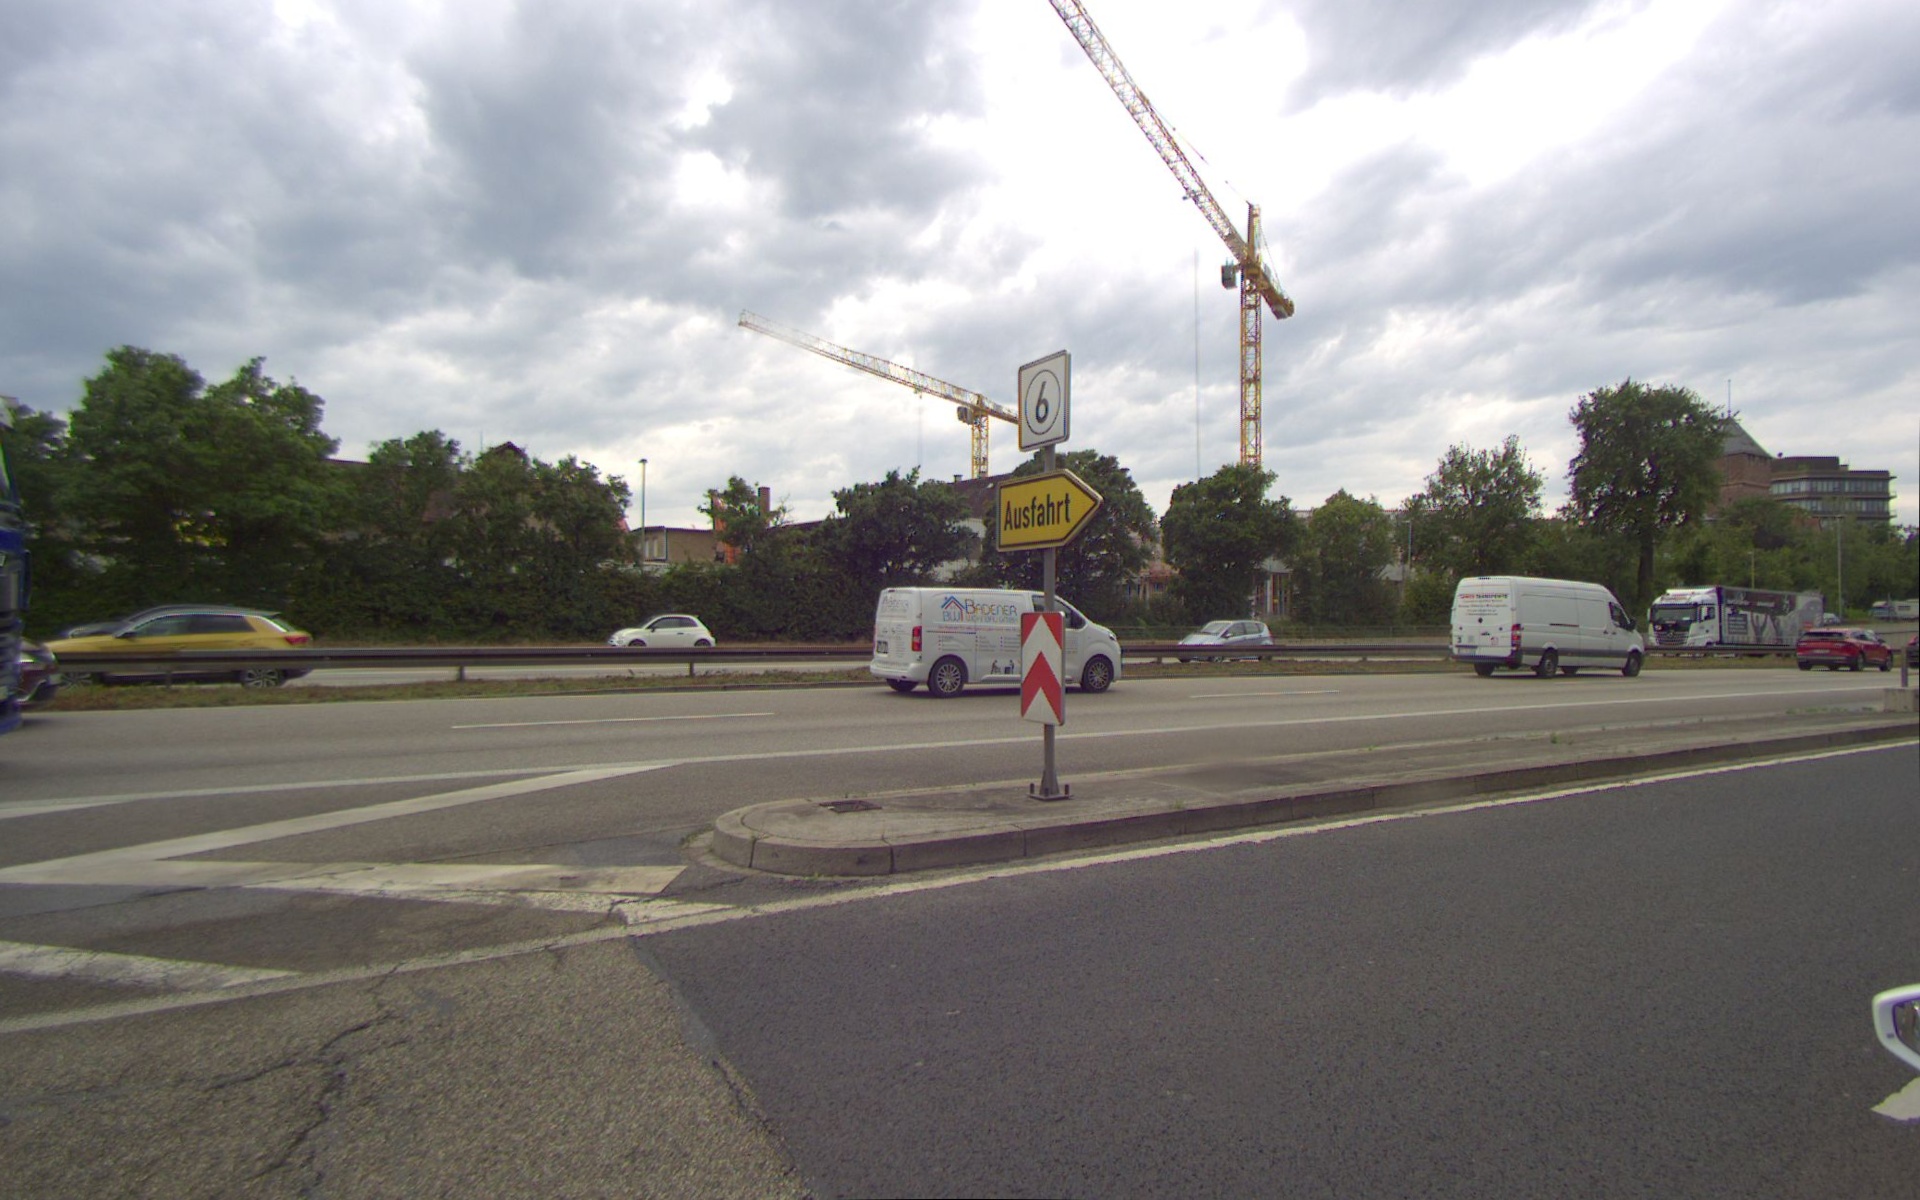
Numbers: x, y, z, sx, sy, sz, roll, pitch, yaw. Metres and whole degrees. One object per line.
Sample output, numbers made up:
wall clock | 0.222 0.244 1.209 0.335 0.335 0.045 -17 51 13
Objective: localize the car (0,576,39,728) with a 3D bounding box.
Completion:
car | -13.122 0.549 10.354 5.025 1.700 1.776 1 -1 -31

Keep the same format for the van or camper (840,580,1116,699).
van or camper | 0.389 0.696 18.460 4.794 1.945 1.911 1 -1 -30

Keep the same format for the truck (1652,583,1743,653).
truck | 41.935 1.056 57.123 4.722 3.818 2.580 1 -1 -31

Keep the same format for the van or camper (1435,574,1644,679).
van or camper | 16.246 0.741 28.001 6.877 2.656 2.039 1 -1 -31

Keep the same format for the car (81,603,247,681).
car | -22.043 1.143 27.977 3.379 2.040 1.546 1 -1 -31

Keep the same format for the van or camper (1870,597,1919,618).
van or camper | 123.457 1.012 131.853 5.548 2.672 1.922 2 1 13

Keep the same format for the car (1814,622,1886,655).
car | 51.001 2.184 57.576 3.953 1.789 1.984 1 -1 -30

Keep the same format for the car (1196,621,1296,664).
car | 10.561 1.532 37.047 3.584 1.510 1.588 1 -1 -31

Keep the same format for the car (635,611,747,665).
car | -9.574 1.333 35.818 3.580 1.863 1.547 1 -1 -32

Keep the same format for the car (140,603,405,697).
car | -12.759 0.902 18.936 3.954 1.613 1.588 1 -1 -31

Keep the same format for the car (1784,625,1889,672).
car | 33.398 1.809 38.249 4.258 1.704 1.880 1 -1 -32

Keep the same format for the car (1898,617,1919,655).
car | 43.069 1.581 44.156 3.963 1.629 1.678 1 1 -32

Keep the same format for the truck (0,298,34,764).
truck | -10.585 -0.630 6.788 5.860 4.014 2.655 1 -1 -31

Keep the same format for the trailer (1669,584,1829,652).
trailer | 47.915 1.147 60.711 14.555 3.807 2.578 1 -1 -31
